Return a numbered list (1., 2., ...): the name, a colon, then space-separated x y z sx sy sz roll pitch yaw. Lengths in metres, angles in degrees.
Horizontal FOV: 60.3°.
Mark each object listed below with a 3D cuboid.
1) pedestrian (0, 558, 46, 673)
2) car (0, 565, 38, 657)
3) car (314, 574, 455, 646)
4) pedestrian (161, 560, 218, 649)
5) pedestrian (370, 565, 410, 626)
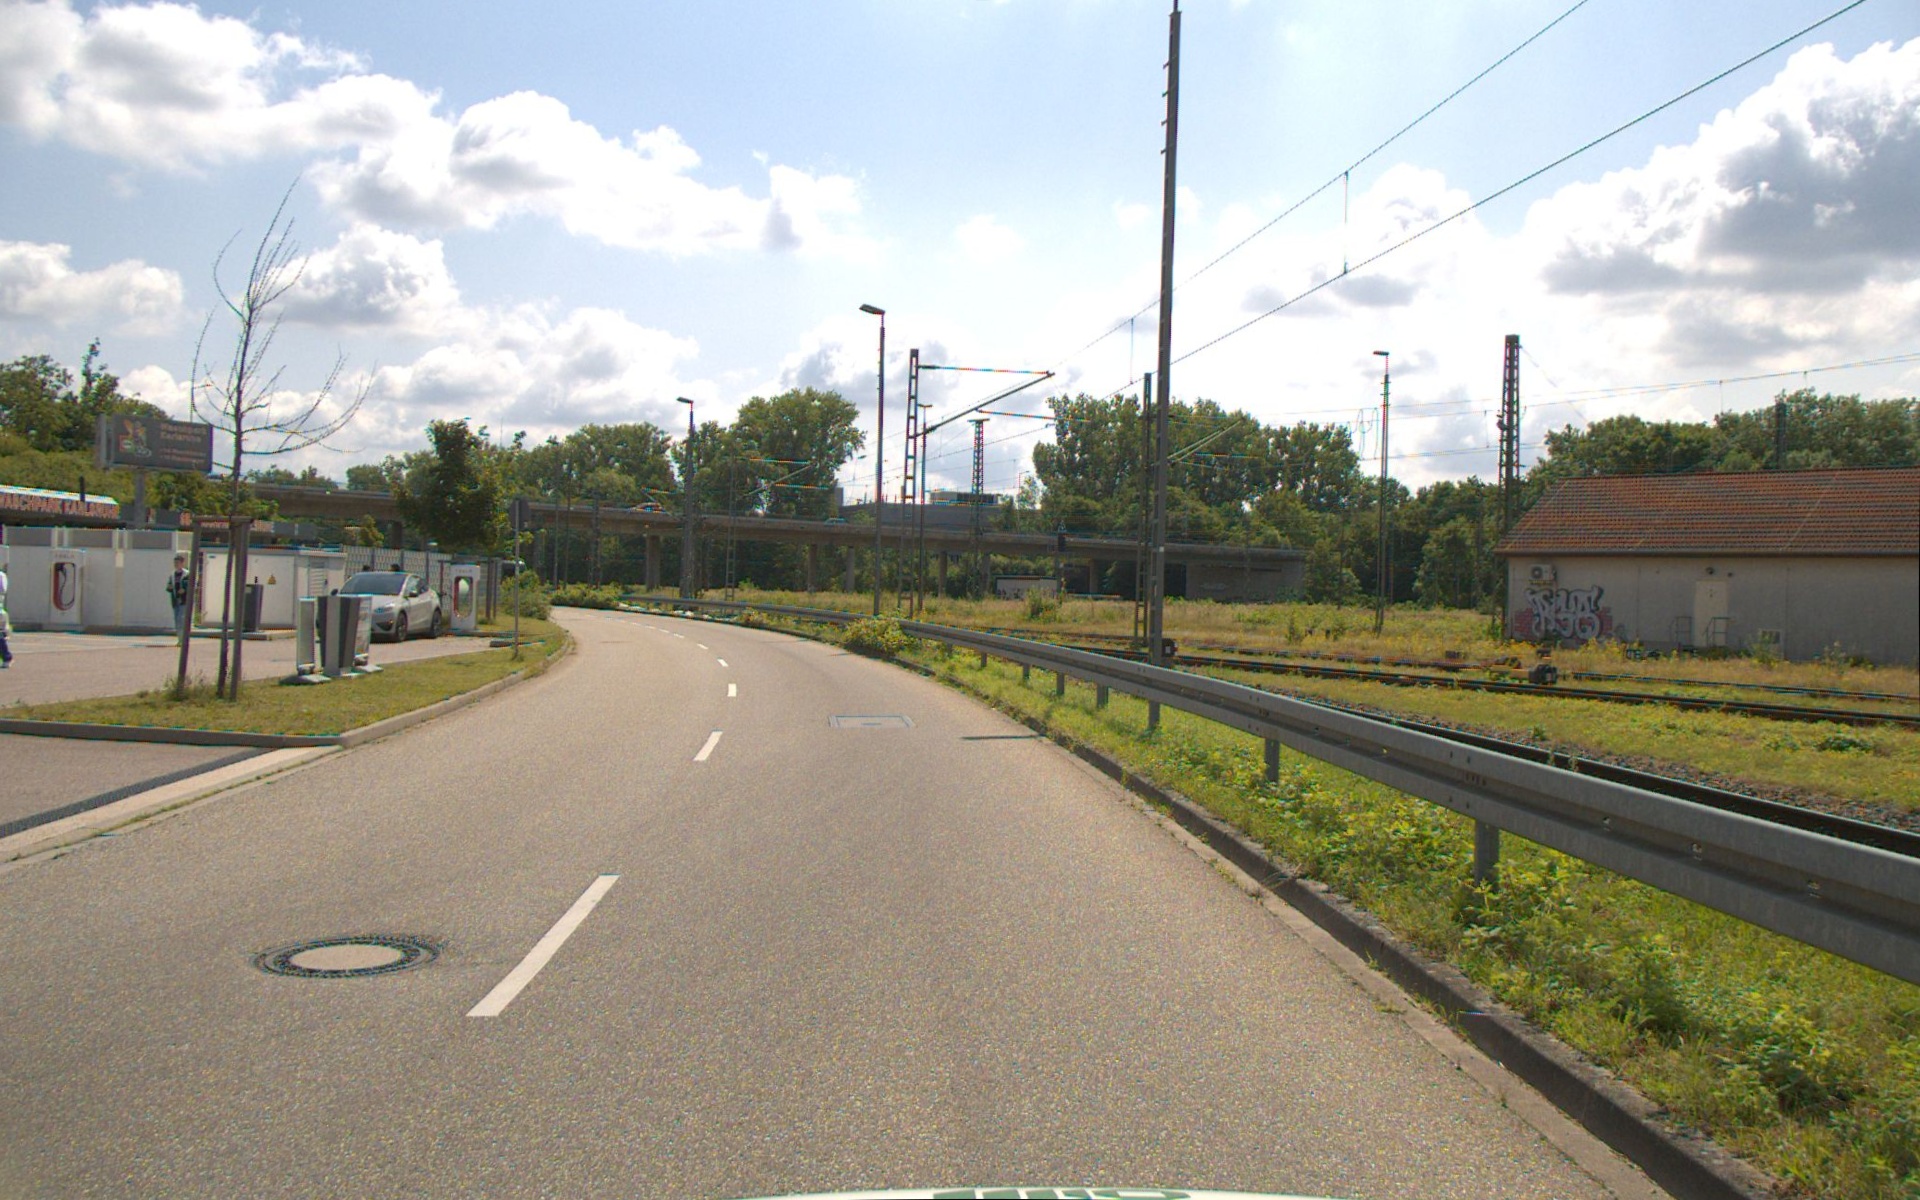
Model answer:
1. pedestrian: -14.340 0.214 24.695 0.845 1.682 0.940 1 0 -5
2. car: -18.278 0.116 27.690 4.462 1.551 1.998 2 -1 -5
3. car: -14.056 0.189 40.672 1.892 1.544 4.774 2 2 -2
4. pedestrian: -15.876 0.094 34.097 0.846 1.782 0.725 2 -1 -10
5. pedestrian: -15.188 -0.128 44.062 0.699 1.607 0.719 0 -1 36
